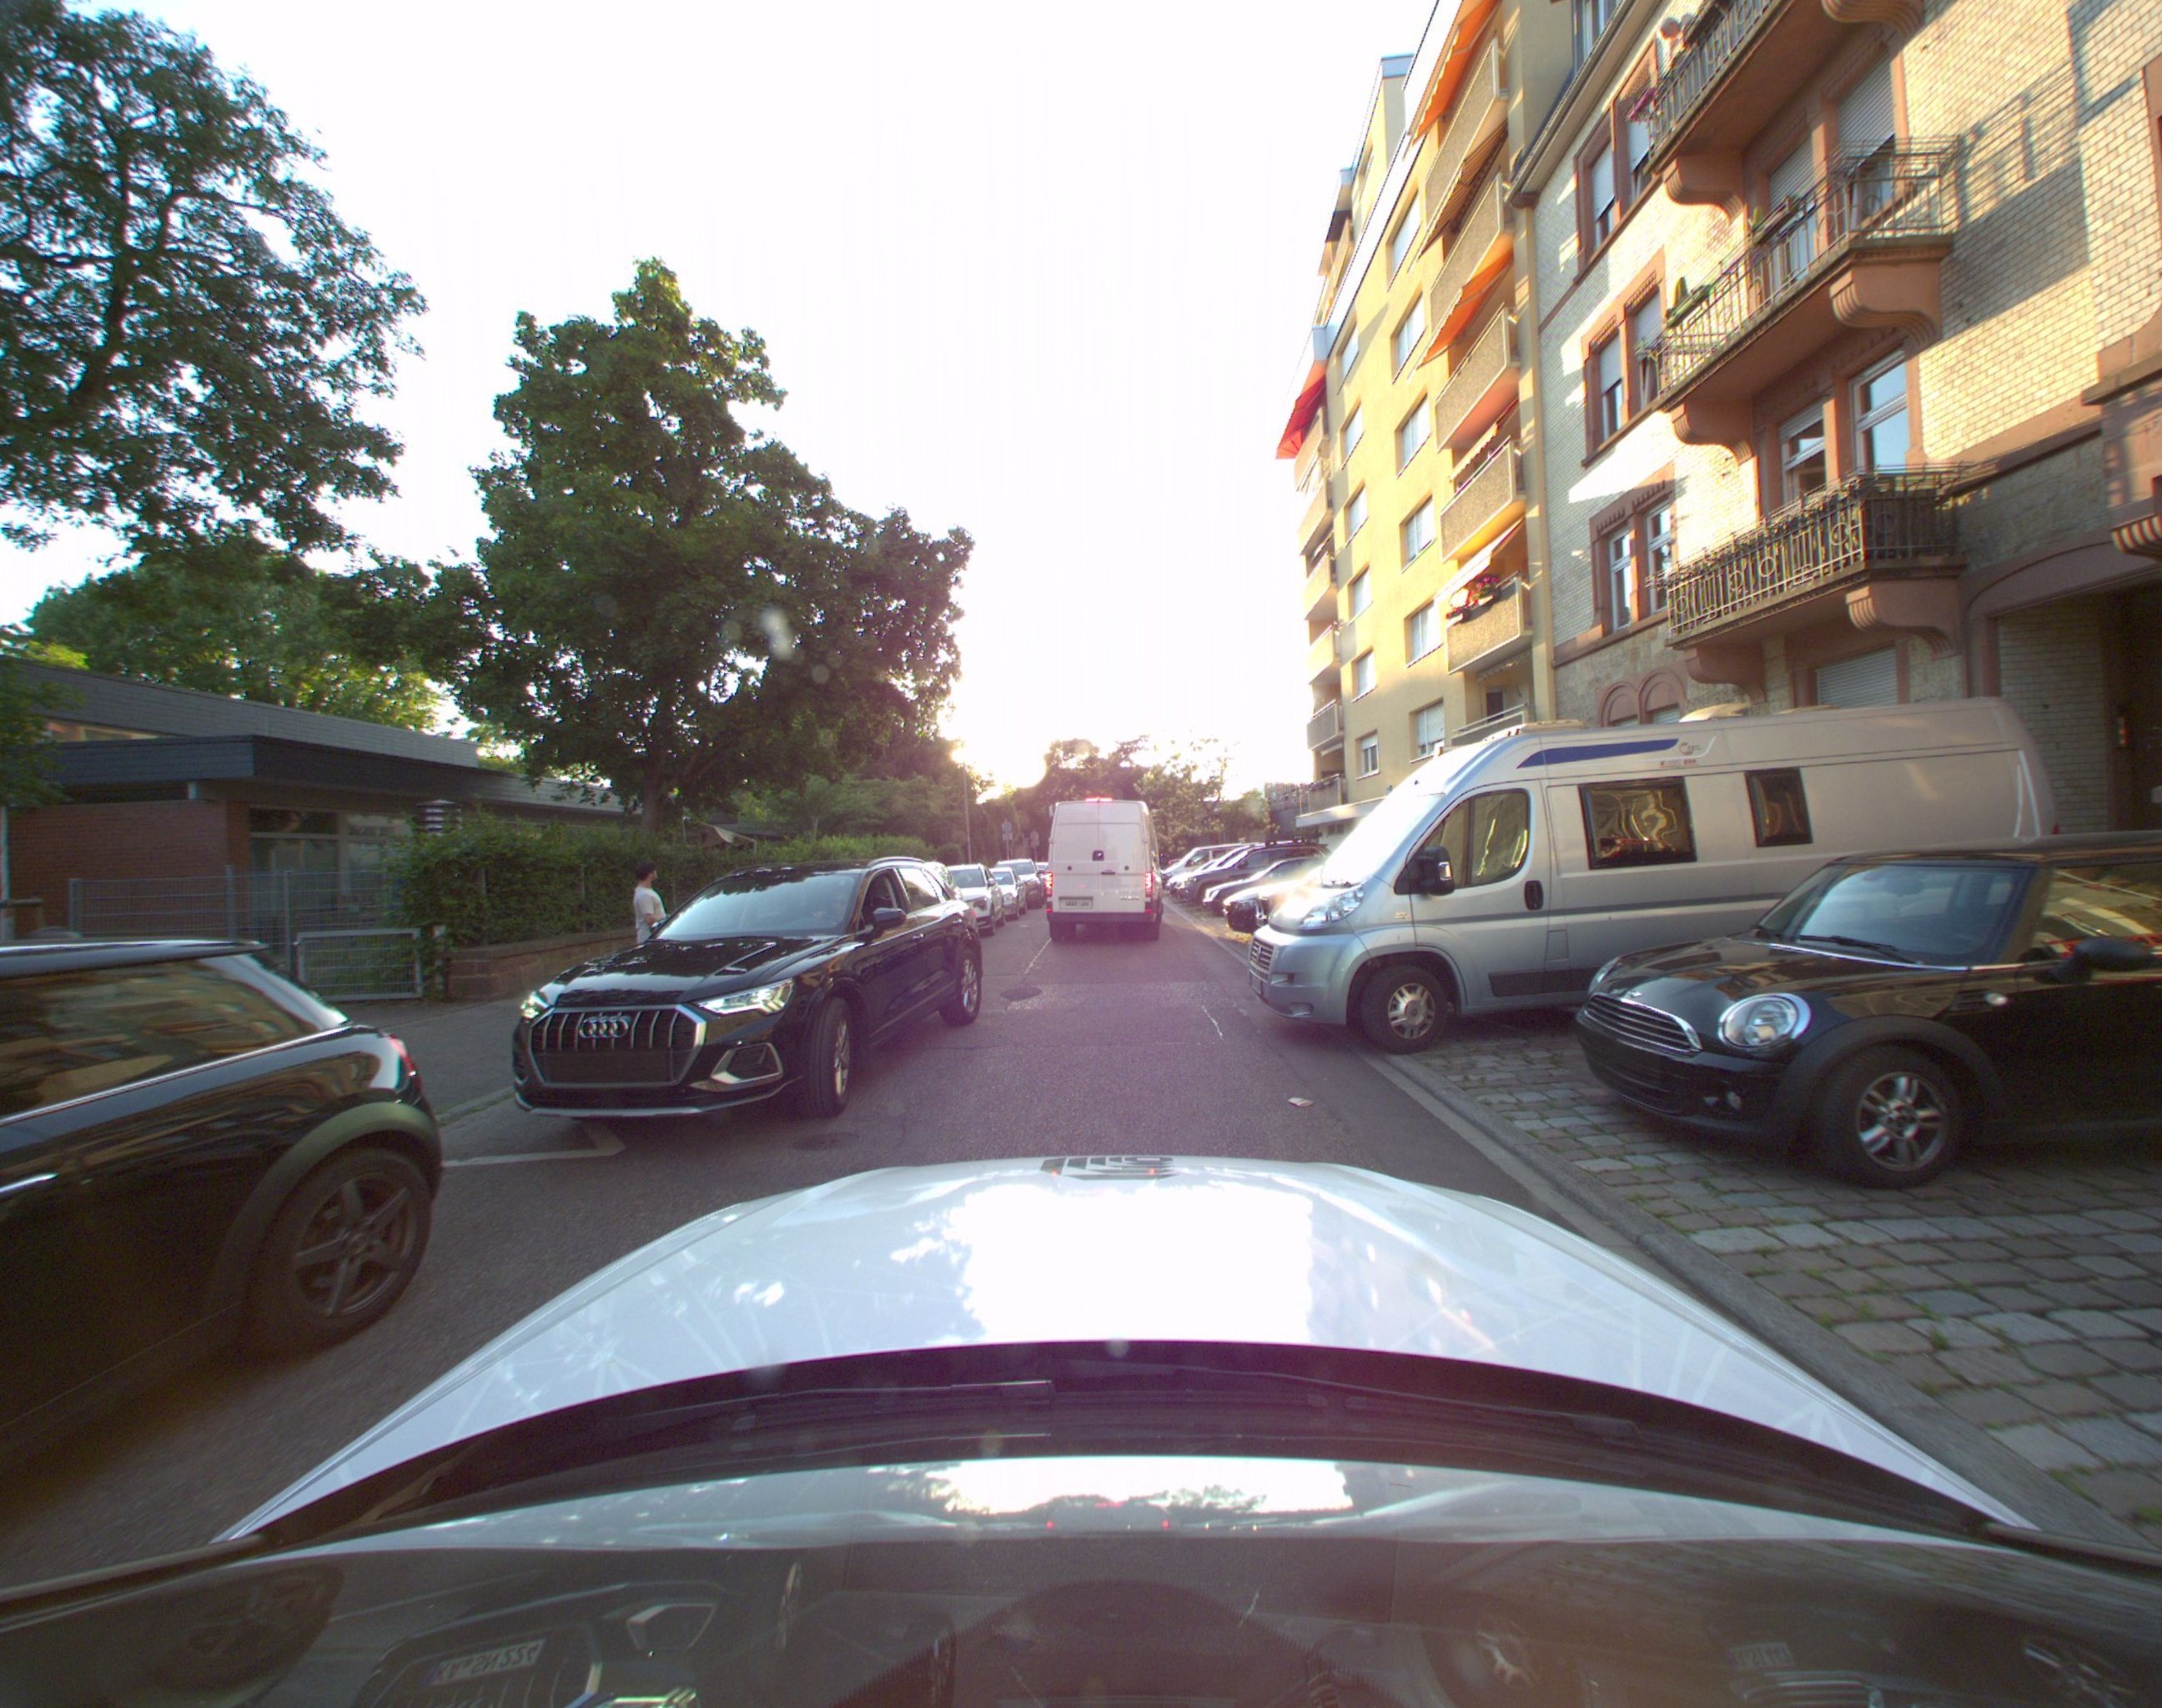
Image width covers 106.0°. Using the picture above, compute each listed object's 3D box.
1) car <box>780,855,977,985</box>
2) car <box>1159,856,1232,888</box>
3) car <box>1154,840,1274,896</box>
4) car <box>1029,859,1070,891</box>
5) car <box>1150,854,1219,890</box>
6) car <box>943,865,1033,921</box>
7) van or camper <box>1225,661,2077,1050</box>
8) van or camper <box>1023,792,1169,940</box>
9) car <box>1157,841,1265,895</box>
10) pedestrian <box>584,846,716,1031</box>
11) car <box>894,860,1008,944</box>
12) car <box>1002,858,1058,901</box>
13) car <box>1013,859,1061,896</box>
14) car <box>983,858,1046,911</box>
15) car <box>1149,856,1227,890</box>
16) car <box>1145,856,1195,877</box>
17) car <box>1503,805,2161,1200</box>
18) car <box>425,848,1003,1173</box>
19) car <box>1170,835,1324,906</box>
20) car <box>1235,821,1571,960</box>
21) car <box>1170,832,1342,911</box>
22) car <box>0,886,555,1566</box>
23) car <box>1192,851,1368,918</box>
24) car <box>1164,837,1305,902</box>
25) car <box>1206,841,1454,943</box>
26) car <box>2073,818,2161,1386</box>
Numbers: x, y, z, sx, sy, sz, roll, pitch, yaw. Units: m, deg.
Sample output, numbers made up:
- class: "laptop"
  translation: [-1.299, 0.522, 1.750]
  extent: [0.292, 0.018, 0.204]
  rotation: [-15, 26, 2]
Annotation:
- class: "car"
  translation: [-2.994, 0.907, 12.994]
  extent: [1.775, 1.631, 4.004]
  rotation: [-4, -1, 4]
- class: "car"
  translation: [6.577, 1.026, 47.214]
  extent: [3.971, 1.728, 2.001]
  rotation: [-1, -1, 2]
- class: "car"
  translation: [5.516, 0.578, 34.145]
  extent: [4.690, 2.145, 2.000]
  rotation: [-1, -1, 0]
- class: "car"
  translation: [-1.622, 1.099, 43.772]
  extent: [1.987, 1.618, 4.000]
  rotation: [-1, -1, 0]
- class: "car"
  translation: [6.255, 1.083, 49.544]
  extent: [3.970, 2.014, 2.002]
  rotation: [-1, -1, 3]
- class: "car"
  translation: [-2.543, 1.059, 23.318]
  extent: [1.986, 1.398, 4.001]
  rotation: [-1, -1, 1]
- class: "van or camper"
  translation: [4.402, 0.020, 7.108]
  extent: [5.908, 2.770, 2.110]
  rotation: [-1, -1, 0]
- class: "van or camper"
  translation: [0.564, 0.237, 17.131]
  extent: [2.441, 2.547, 6.094]
  rotation: [0, 0, 7]
- class: "car"
  translation: [5.717, 0.627, 36.326]
  extent: [4.480, 2.230, 2.032]
  rotation: [-1, -1, 1]
- class: "pedestrian"
  translation: [-4.491, 0.846, 8.544]
  extent: [0.934, 1.830, 0.787]
  rotation: [-1, -1, 0]
- class: "car"
  translation: [-2.769, 0.970, 18.222]
  extent: [1.850, 1.555, 4.098]
  rotation: [-4, -1, -1]
- class: "car"
  translation: [-2.040, 1.002, 33.744]
  extent: [1.987, 1.618, 4.000]
  rotation: [-1, -1, 0]
- class: "car"
  translation: [-1.996, 1.058, 38.058]
  extent: [1.987, 1.618, 4.000]
  rotation: [-1, -1, 0]
- class: "car"
  translation: [-2.257, 1.011, 28.537]
  extent: [1.988, 1.662, 3.997]
  rotation: [-1, -1, -2]
- class: "car"
  translation: [5.752, 1.008, 44.194]
  extent: [3.971, 1.728, 2.001]
  rotation: [-1, -1, 2]
- class: "car"
  translation: [7.602, 1.069, 69.480]
  extent: [3.976, 1.618, 1.998]
  rotation: [-1, -1, -2]
- class: "car"
  translation: [4.660, 0.572, 4.228]
  extent: [3.919, 1.486, 1.788]
  rotation: [-5, -2, 3]
- class: "car"
  translation: [-2.104, 0.813, 6.335]
  extent: [1.793, 1.569, 4.577]
  rotation: [-3, -1, 9]
- class: "car"
  translation: [5.404, 0.525, 27.037]
  extent: [4.690, 2.145, 2.000]
  rotation: [-1, -1, 0]
- class: "car"
  translation: [4.820, 0.518, 12.552]
  extent: [4.426, 1.728, 1.769]
  rotation: [-3, -1, -5]
- class: "car"
  translation: [5.137, 0.508, 24.346]
  extent: [4.690, 2.145, 2.000]
  rotation: [-1, -1, 0]
- class: "car"
  translation: [-3.307, 0.920, 1.663]
  extent: [1.630, 1.478, 3.995]
  rotation: [-4, -1, 3]
- class: "car"
  translation: [5.205, 0.788, 21.710]
  extent: [4.222, 1.425, 1.719]
  rotation: [-4, -1, 1]
- class: "car"
  translation: [5.477, 0.543, 29.464]
  extent: [4.690, 2.145, 2.000]
  rotation: [-1, -1, 0]
- class: "car"
  translation: [4.538, 0.678, 15.252]
  extent: [3.977, 1.454, 1.834]
  rotation: [-5, -1, -3]
- class: "car"
  translation: [4.857, 0.500, 1.375]
  extent: [3.978, 1.515, 2.017]
  rotation: [-5, -1, -3]
